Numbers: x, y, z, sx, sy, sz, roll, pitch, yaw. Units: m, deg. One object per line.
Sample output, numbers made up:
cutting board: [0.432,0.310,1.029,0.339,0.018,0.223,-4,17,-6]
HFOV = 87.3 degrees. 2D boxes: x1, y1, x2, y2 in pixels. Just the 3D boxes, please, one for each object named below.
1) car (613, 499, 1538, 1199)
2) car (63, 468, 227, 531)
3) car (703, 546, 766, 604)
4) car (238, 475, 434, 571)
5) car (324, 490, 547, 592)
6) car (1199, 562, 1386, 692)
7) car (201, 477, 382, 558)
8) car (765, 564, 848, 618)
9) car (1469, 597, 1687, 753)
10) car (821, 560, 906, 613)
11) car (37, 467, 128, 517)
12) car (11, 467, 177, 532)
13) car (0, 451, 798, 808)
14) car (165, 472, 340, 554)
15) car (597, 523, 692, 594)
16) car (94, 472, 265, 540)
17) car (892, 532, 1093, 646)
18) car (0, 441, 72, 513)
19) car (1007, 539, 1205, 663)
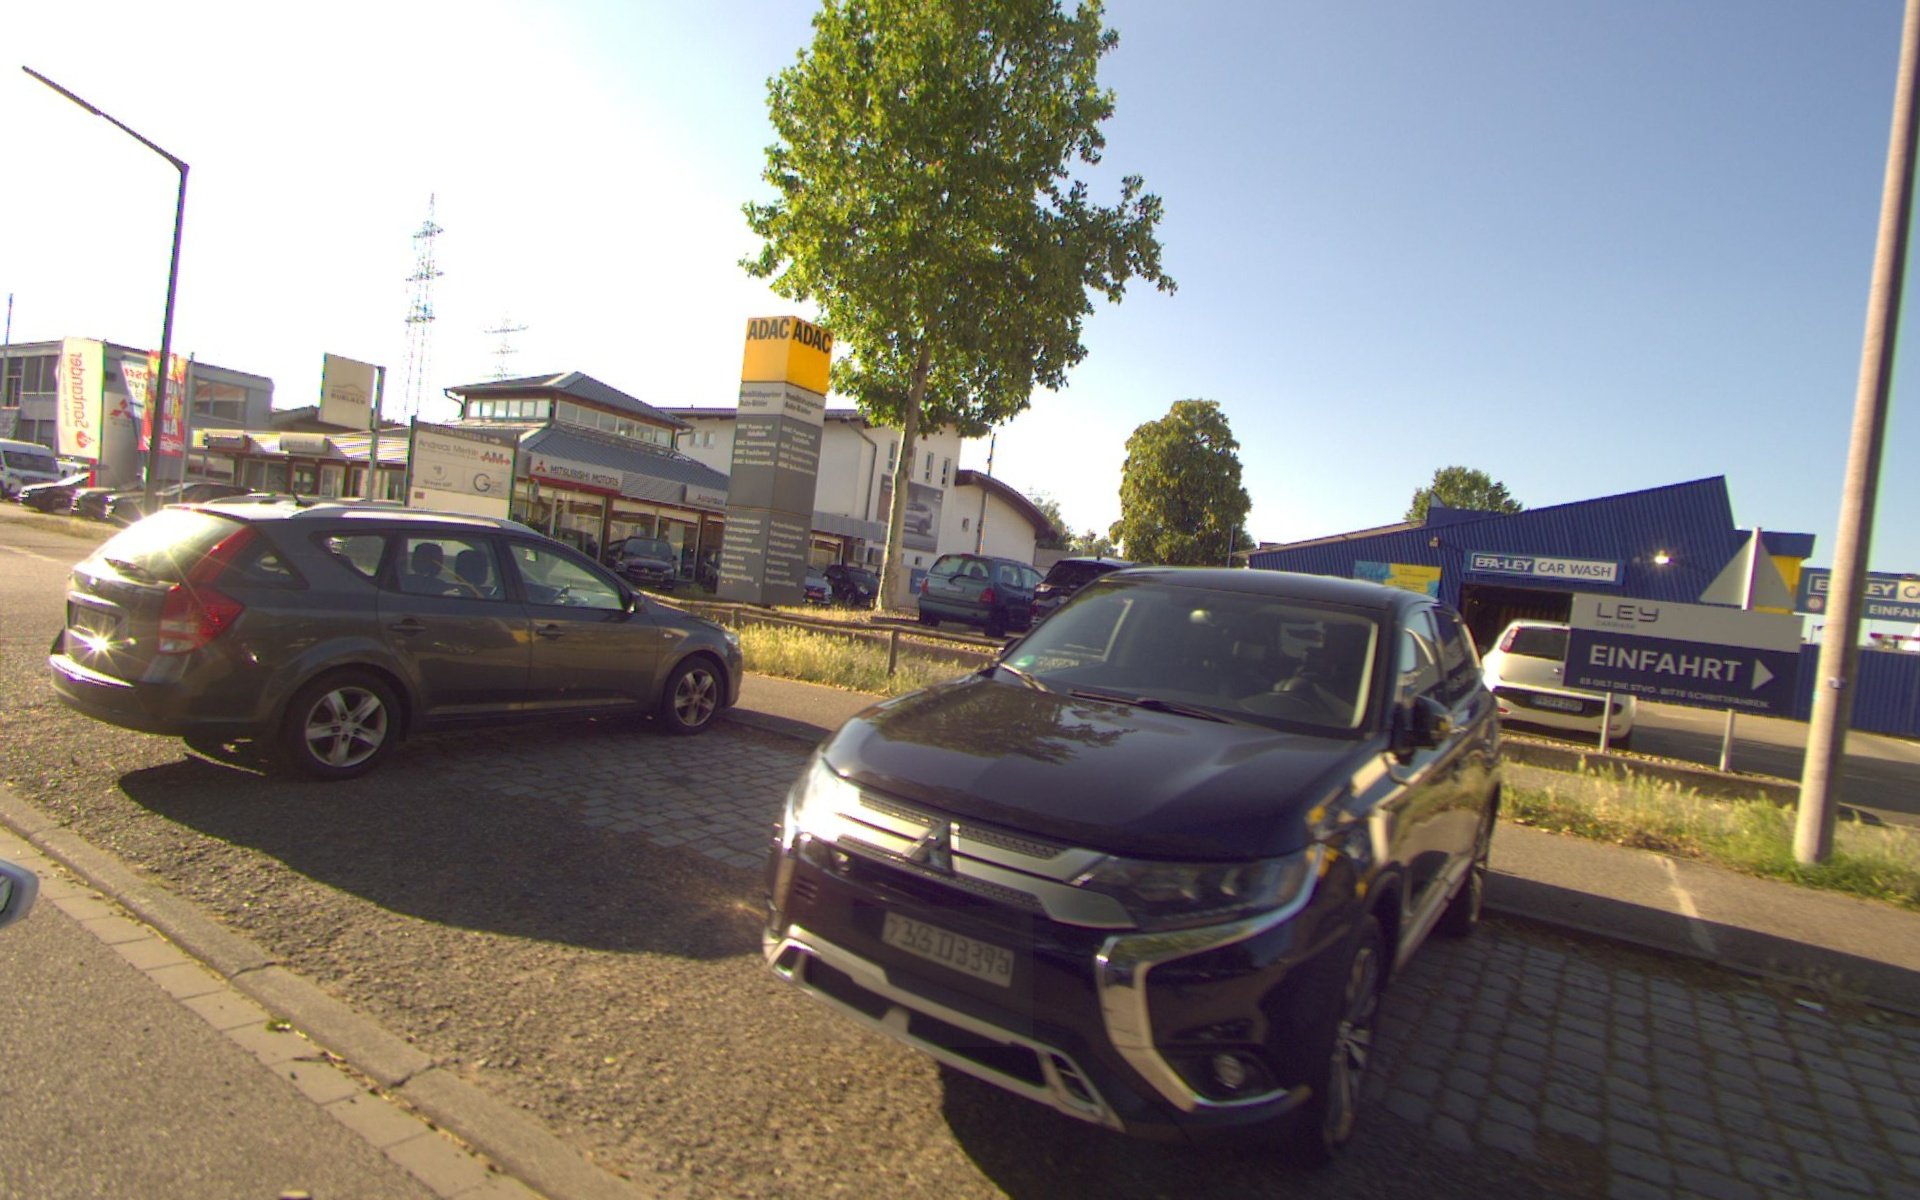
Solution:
car: [1.091,0.614,4.368,1.968,1.601,4.596,7,3,34]
car: [-28.449,-3.485,35.226,1.967,1.682,3.987,7,2,32]
car: [-7.635,-0.812,34.270,1.708,1.652,3.573,7,-1,-9]
car: [-17.228,-2.077,27.943,2.165,1.922,3.938,10,2,32]
car: [-13.398,-1.460,25.959,2.165,1.921,4.502,7,-1,32]
car: [5.159,0.485,15.244,1.919,1.537,3.996,7,-1,28]
car: [-19.320,-2.349,29.212,2.165,1.925,3.797,8,4,32]
car: [-5.560,-0.349,36.165,1.718,1.653,3.411,7,-1,-30]
car: [7.892,0.969,13.199,1.965,1.515,3.996,7,-1,28]
car: [-3.878,-0.582,39.797,1.975,1.759,3.977,7,-1,-24]
car: [-40.061,-4.932,45.928,3.934,1.821,1.996,7,-1,32]
car: [-31.325,-3.618,36.497,1.967,1.795,4.144,7,2,32]
car: [-3.468,0.084,7.132,1.967,1.635,4.599,6,3,32]
car: [-21.406,-2.600,30.582,1.757,1.922,3.906,5,-1,32]
car: [-9.545,-1.199,30.739,1.966,1.759,3.995,7,-1,-8]
car: [-25.686,-3.066,33.219,1.967,1.719,3.987,7,2,32]
car: [0.717,-0.129,18.273,1.965,1.537,3.996,7,-1,28]
car: [-40.922,-5.368,43.494,6.036,2.657,1.996,7,0,32]
car: [2.612,0.100,17.096,1.965,1.614,3.996,7,-1,28]
